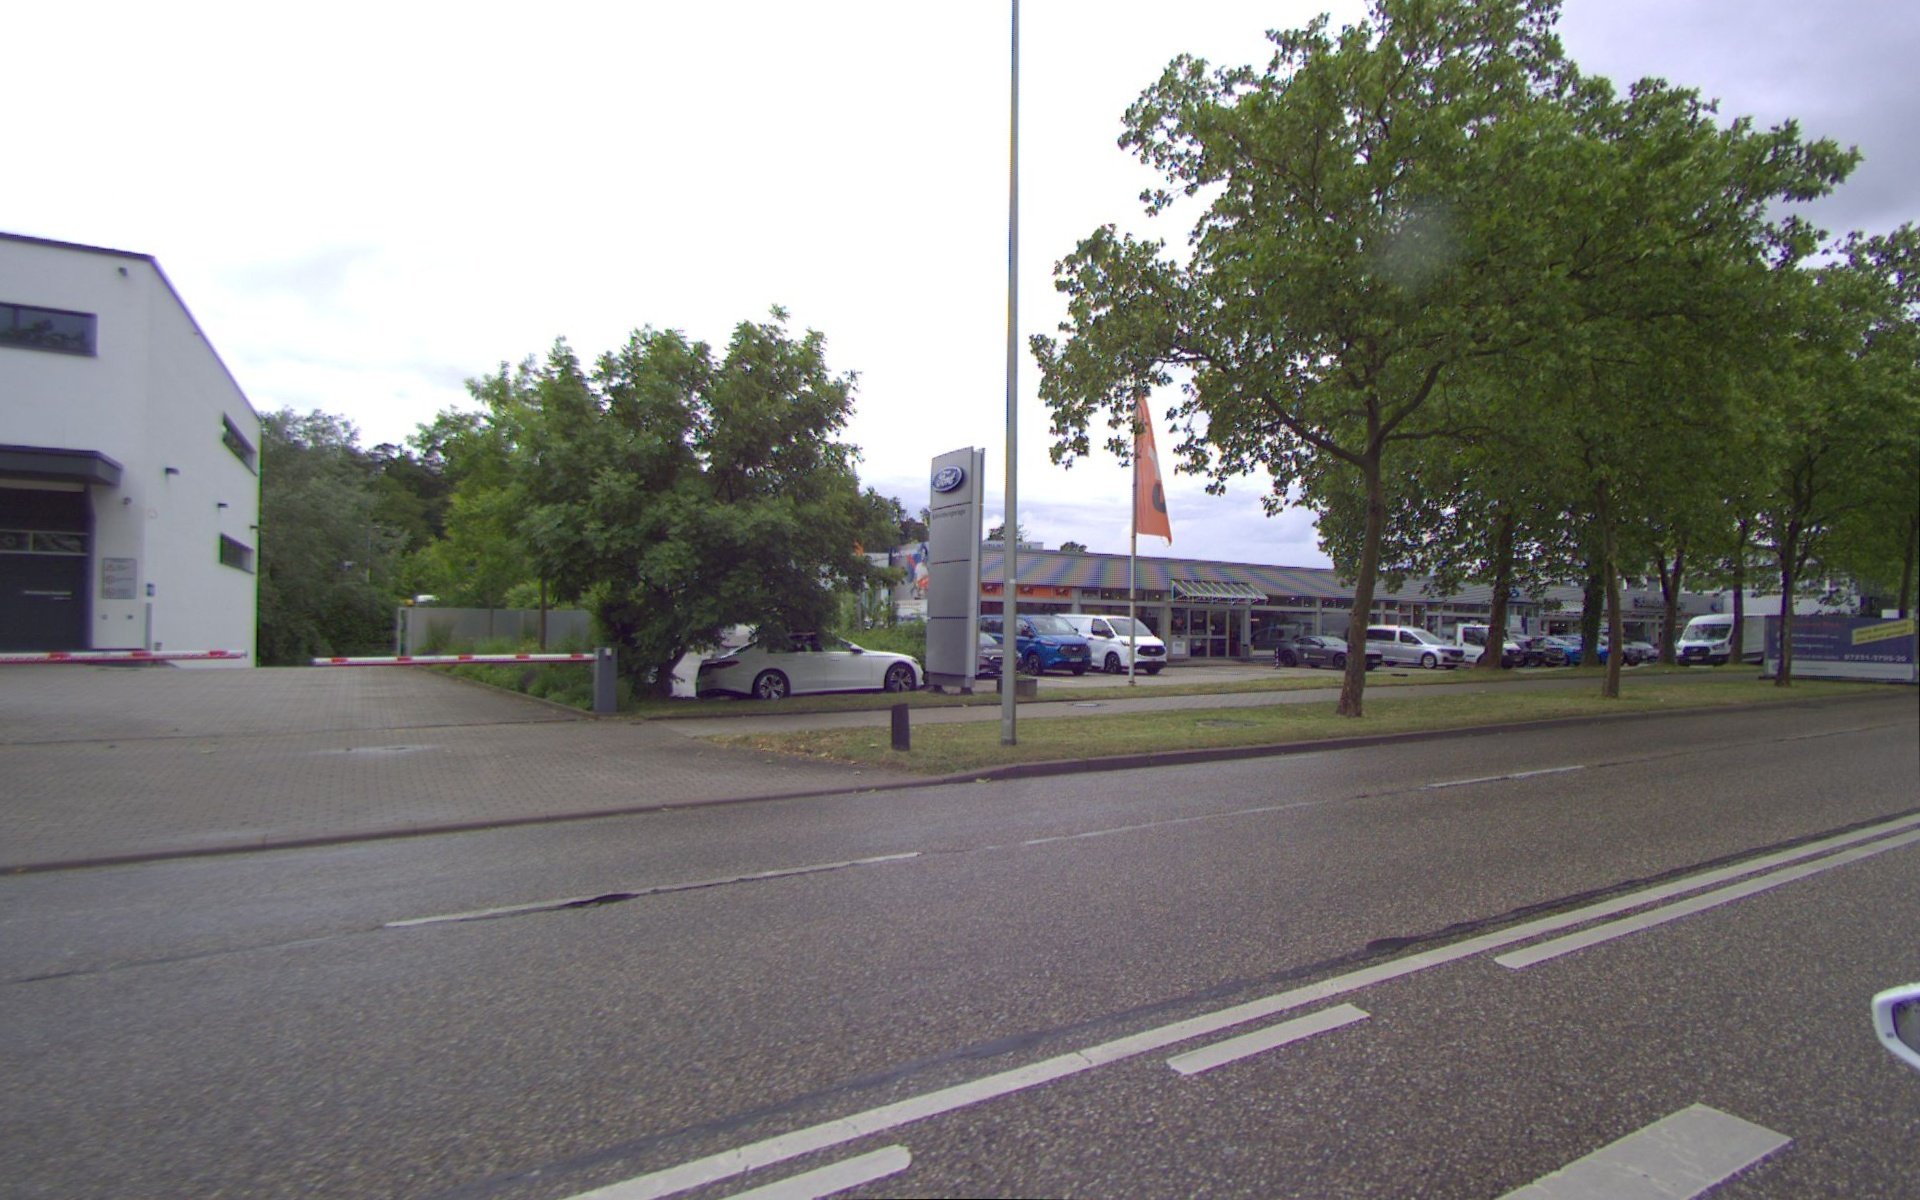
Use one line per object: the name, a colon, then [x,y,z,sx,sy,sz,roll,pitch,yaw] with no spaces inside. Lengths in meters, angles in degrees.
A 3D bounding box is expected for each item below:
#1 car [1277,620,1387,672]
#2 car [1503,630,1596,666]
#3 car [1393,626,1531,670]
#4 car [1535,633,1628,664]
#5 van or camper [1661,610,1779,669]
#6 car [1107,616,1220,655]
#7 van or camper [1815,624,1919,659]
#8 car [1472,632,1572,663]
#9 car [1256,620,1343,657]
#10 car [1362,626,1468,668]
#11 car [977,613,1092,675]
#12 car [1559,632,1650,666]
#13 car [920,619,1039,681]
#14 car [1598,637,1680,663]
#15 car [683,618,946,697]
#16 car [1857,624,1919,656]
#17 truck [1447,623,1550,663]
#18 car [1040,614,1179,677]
car: [15.253,1.859,41.390,1.862,2.040,3.965,1,-2,-32]
car: [30.298,2.427,51.770,1.834,1.790,3.988,1,-2,-15]
car: [23.265,2.162,46.772,2.390,1.928,5.344,1,-2,-33]
car: [32.632,2.520,52.878,1.834,1.540,3.988,1,-2,-15]
van or camper: [34.340,1.750,45.323,6.326,2.503,1.984,1,0,-31]
car: [10.554,1.824,52.176,5.258,1.862,2.385,0,-1,33]
van or camper: [50.110,2.228,54.682,5.211,1.845,2.260,-1,-2,35]
car: [28.188,2.368,50.506,2.008,1.480,3.973,1,-2,-27]
car: [17.275,1.927,51.257,1.844,1.790,3.966,1,-2,-32]
car: [20.237,2.042,44.831,1.862,1.790,3.965,1,-2,-32]
car: [2.390,1.414,33.143,1.939,1.914,3.970,1,-2,-29]
car: [34.750,2.614,54.295,1.833,1.790,3.989,1,-2,-14]
car: [0.540,1.538,31.937,2.041,1.837,4.108,1,-2,-29]
car: [40.057,2.936,59.381,1.574,1.487,3.893,1,-2,-18]
car: [-3.041,1.177,21.458,5.188,1.516,2.107,1,-2,-32]
car: [55.759,2.345,58.979,4.397,1.840,1.992,-1,-2,37]
truck: [26.048,2.063,48.677,1.983,1.862,3.955,2,-2,-39]
car: [5.156,1.553,35.347,2.106,2.040,5.018,1,-2,-32]
